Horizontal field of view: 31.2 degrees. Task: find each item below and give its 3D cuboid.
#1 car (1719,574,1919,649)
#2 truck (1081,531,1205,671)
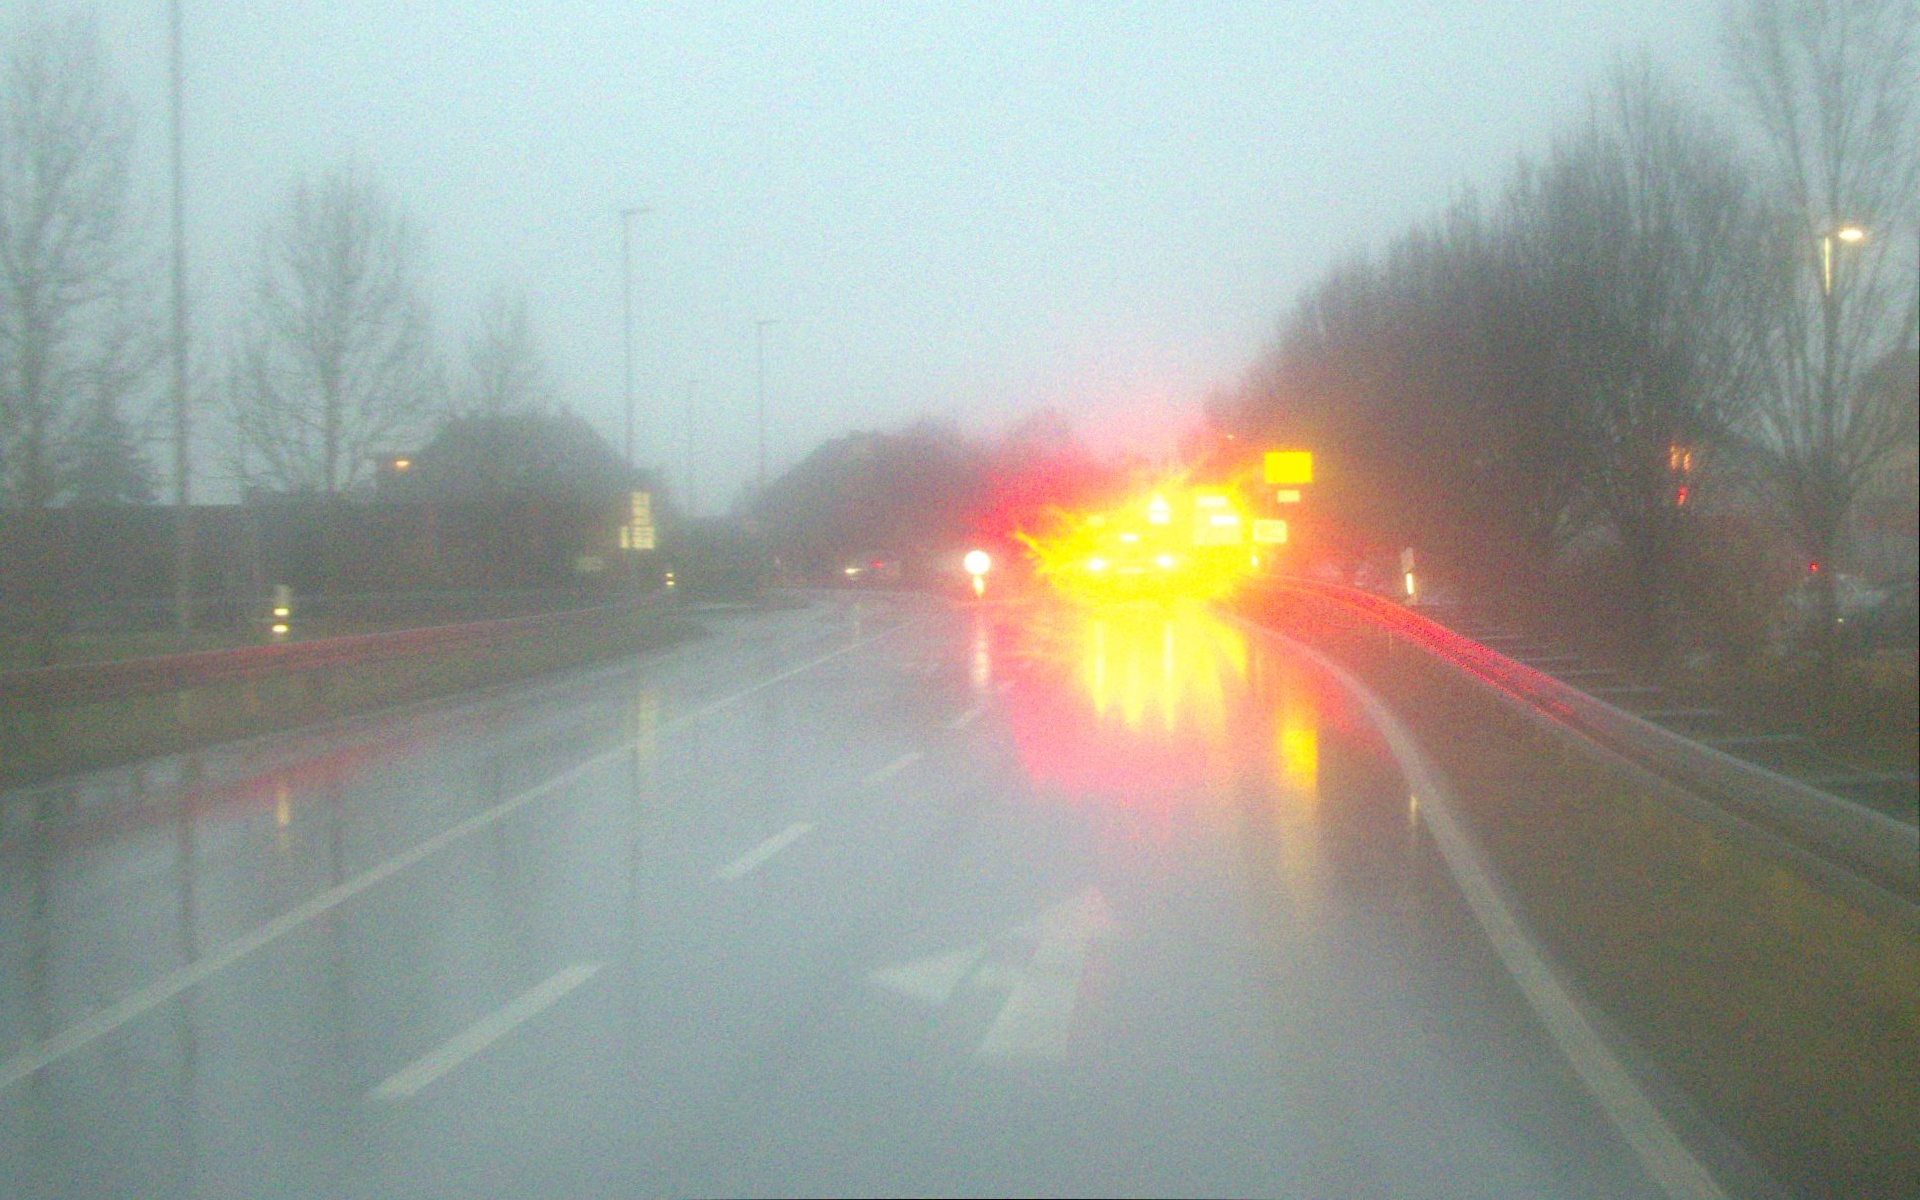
[{"bbox_3d":[16.991,0.228,67.878,3.535,1.419,1.663,-1,-1,-6],"label":"car"},{"bbox_3d":[3.937,-0.015,74.122,2.532,2.859,5.921,-1,1,3],"label":"truck"}]
